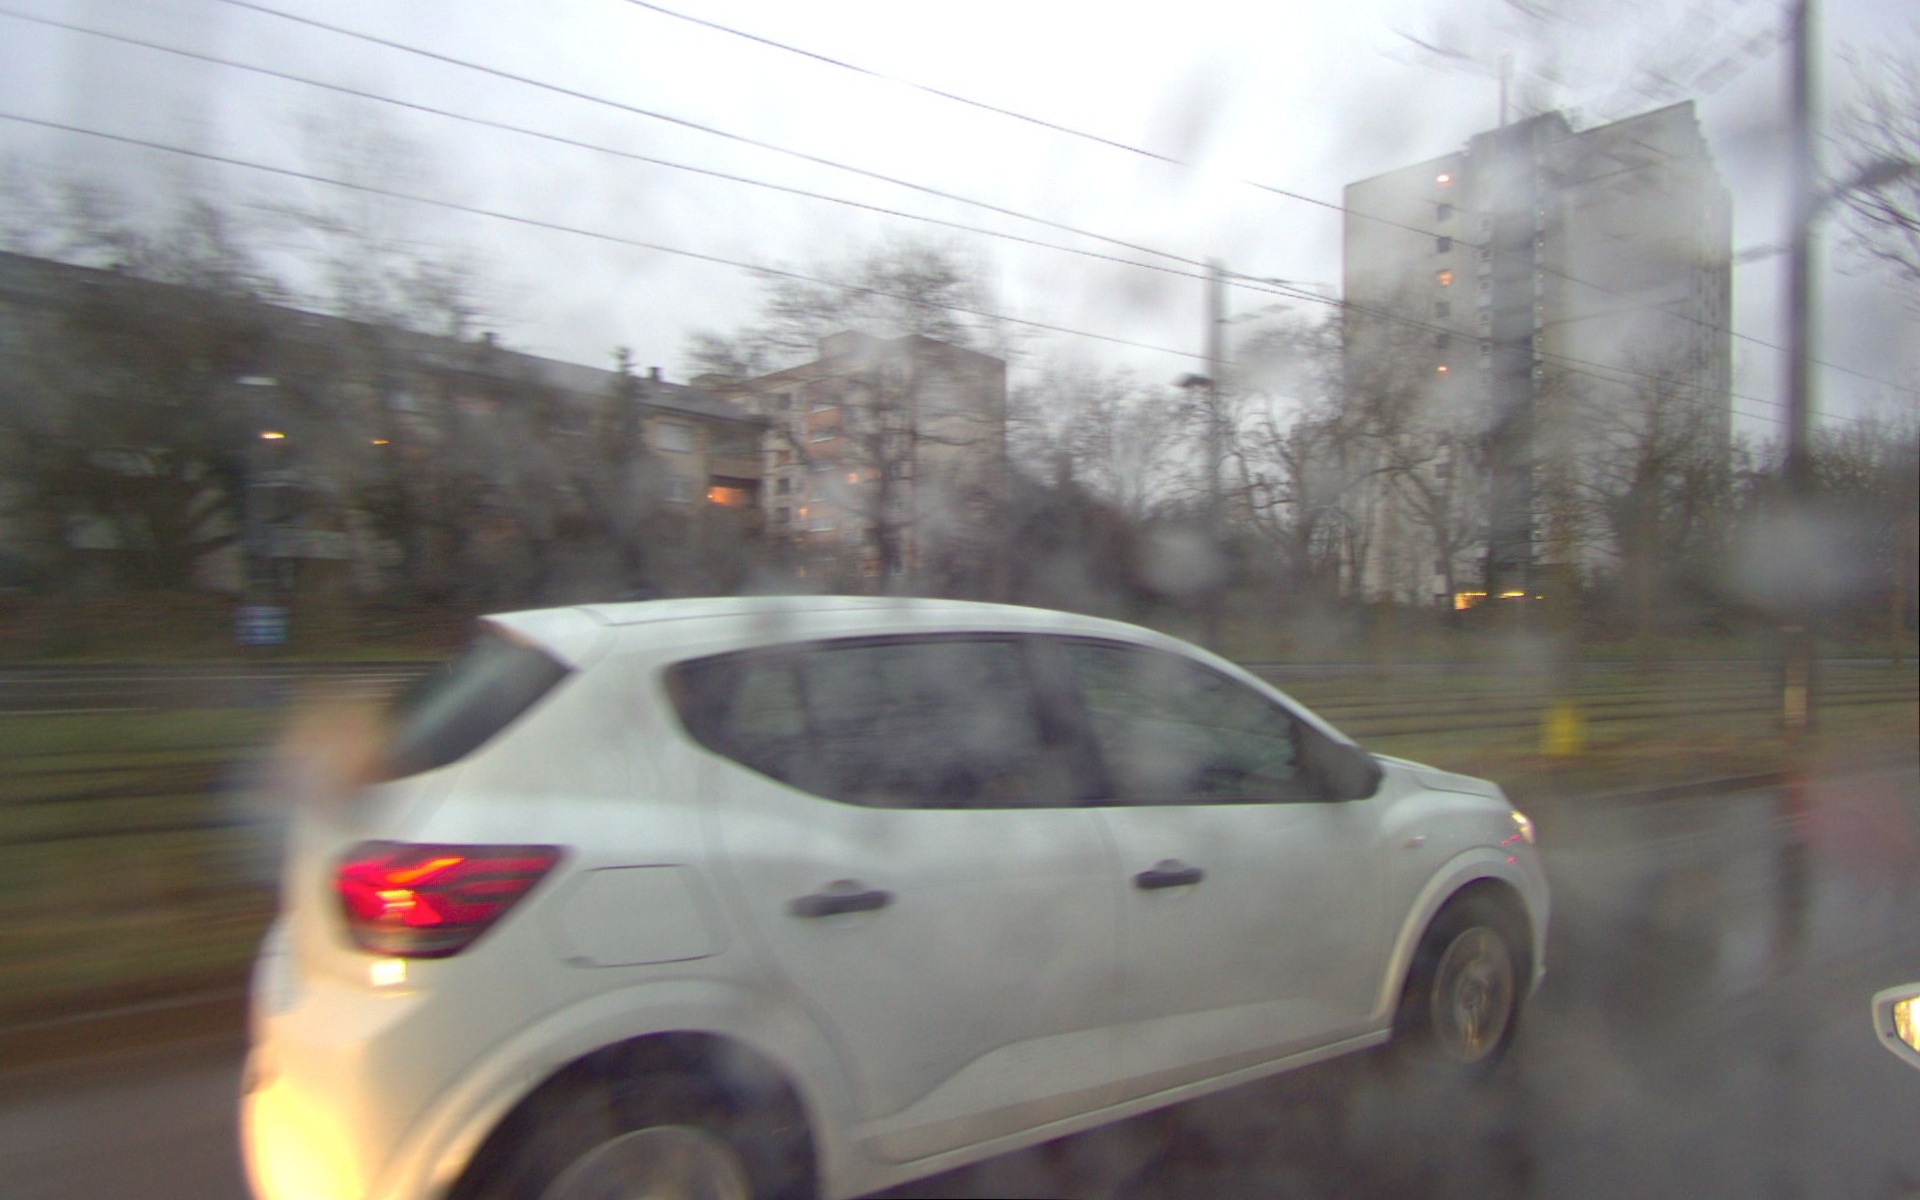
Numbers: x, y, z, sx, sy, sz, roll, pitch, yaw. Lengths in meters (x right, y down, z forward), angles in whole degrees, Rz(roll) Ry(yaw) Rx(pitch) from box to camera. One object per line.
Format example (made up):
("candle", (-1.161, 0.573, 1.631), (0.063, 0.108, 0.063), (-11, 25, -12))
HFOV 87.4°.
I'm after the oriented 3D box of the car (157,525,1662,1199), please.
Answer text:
("car", (0.222, 0.712, 3.206), (4.084, 1.545, 1.701), (1, -1, -29))
